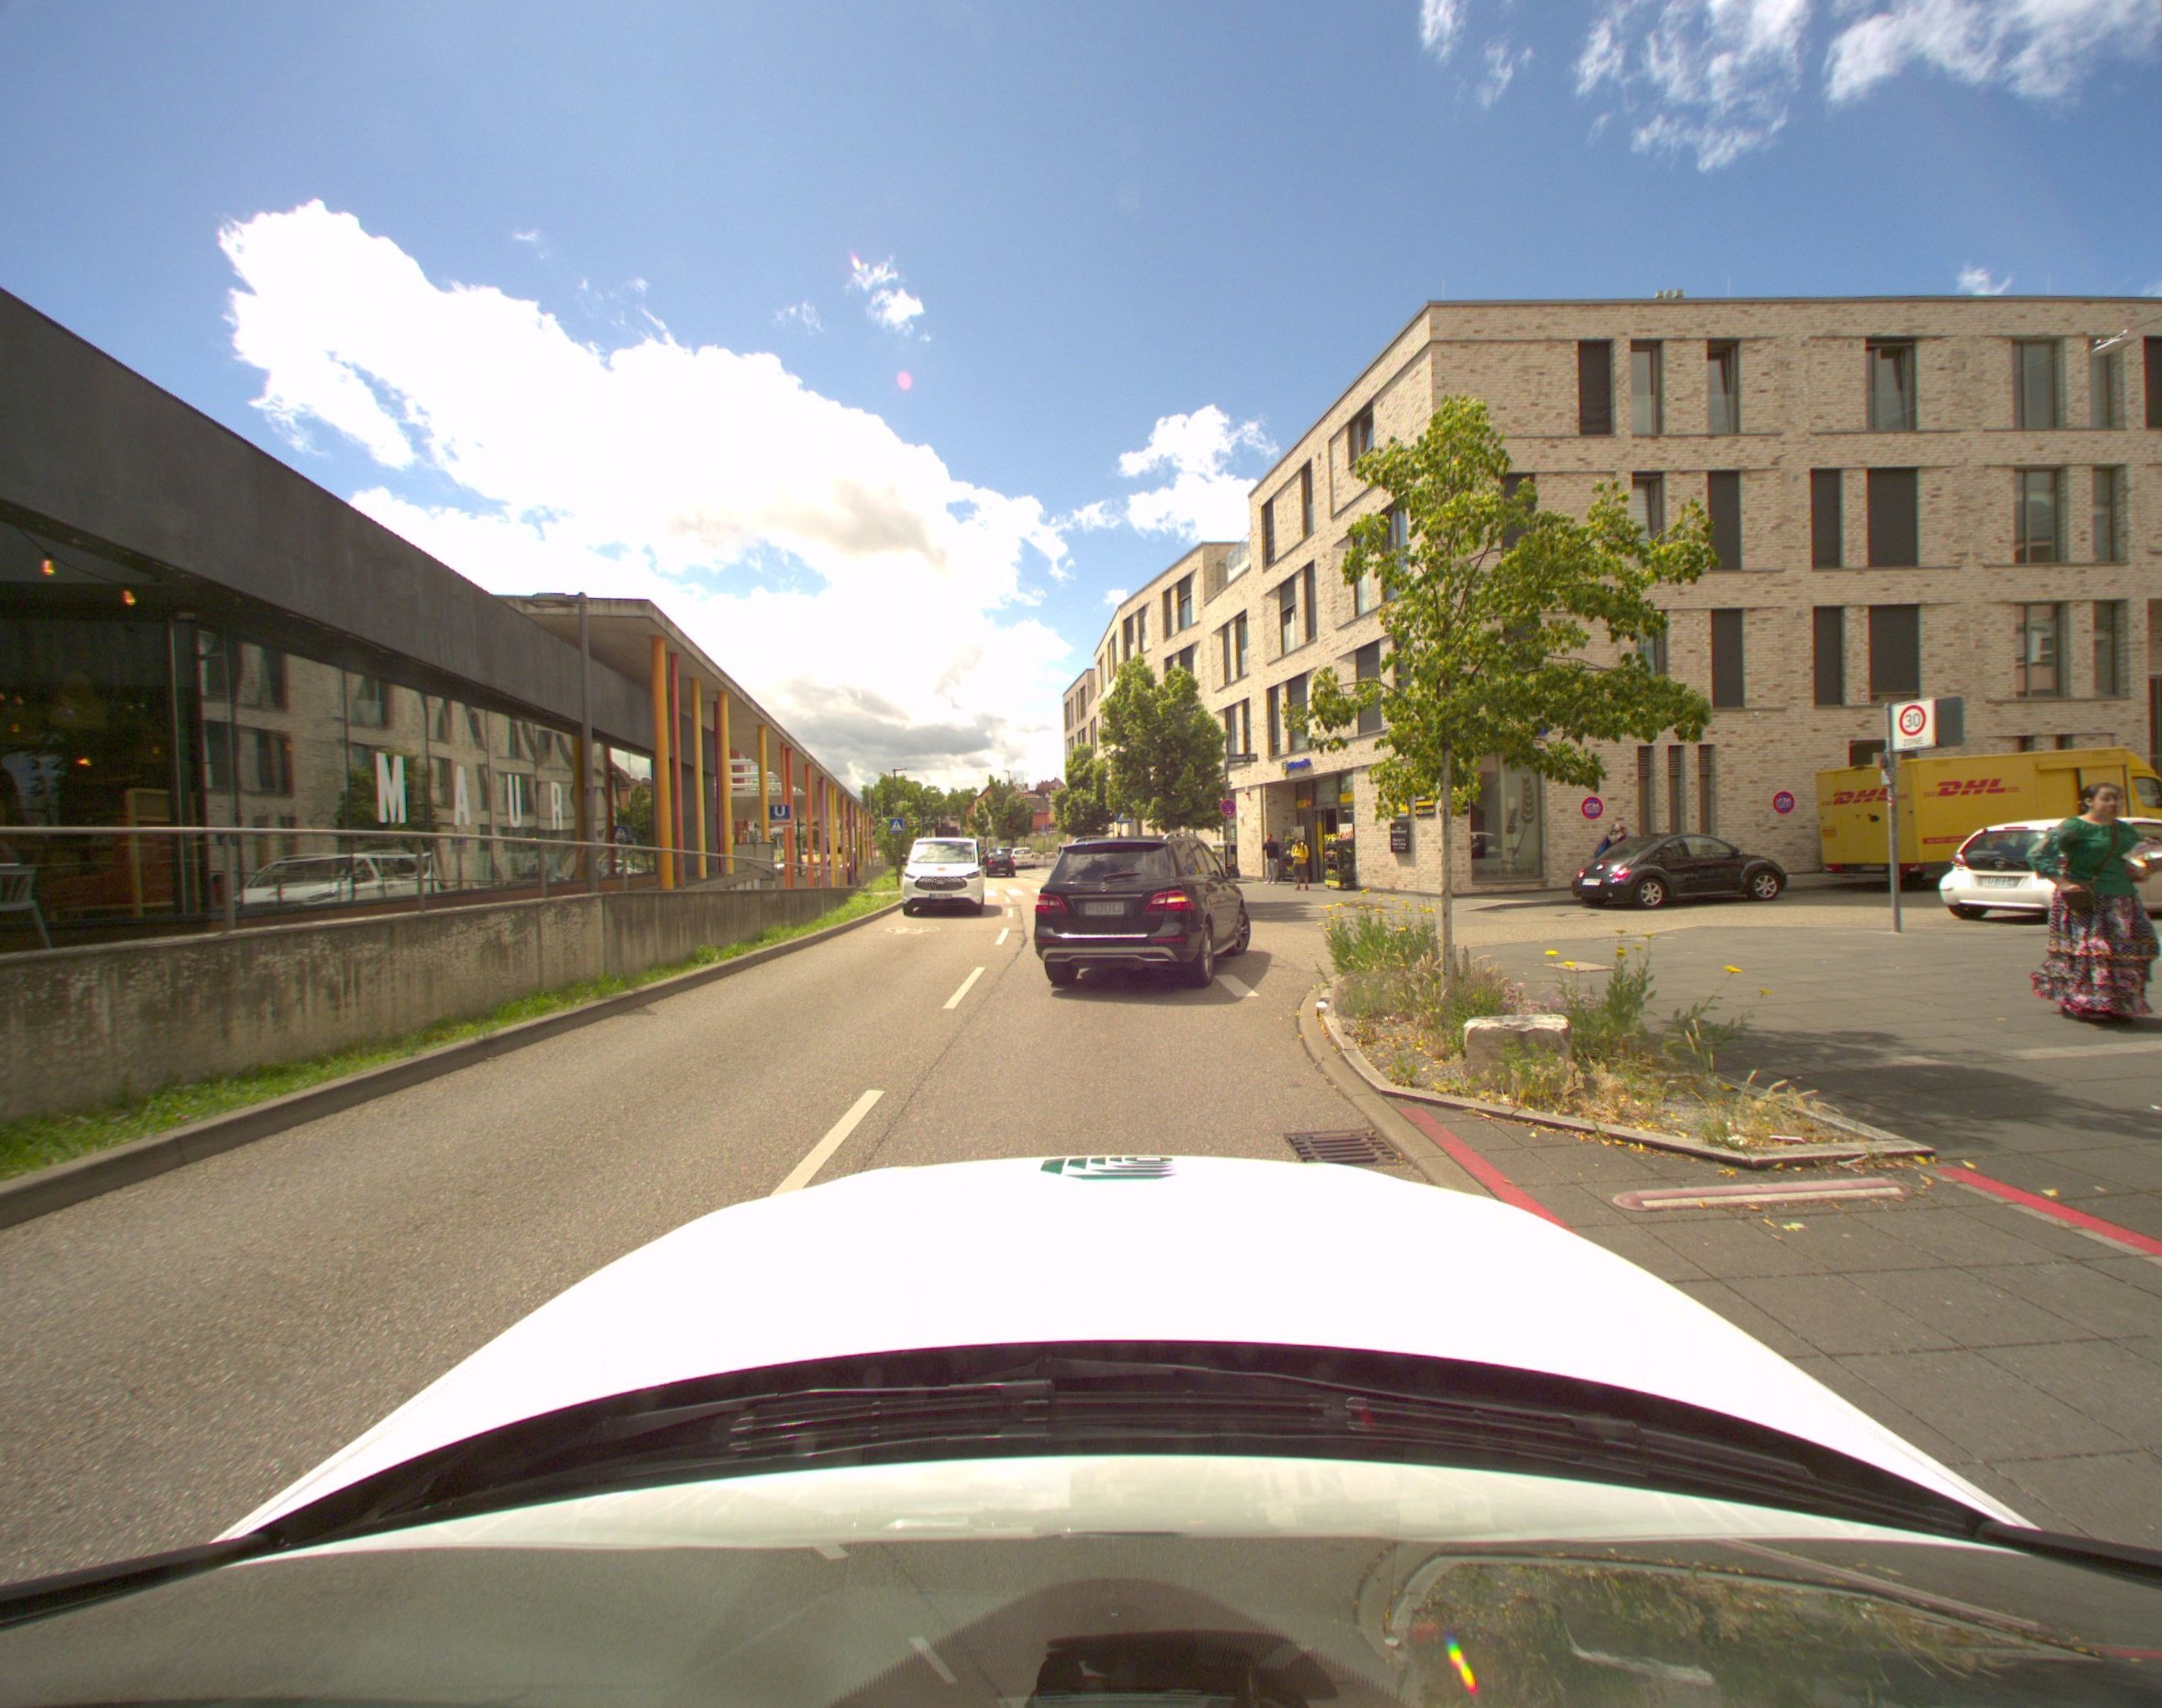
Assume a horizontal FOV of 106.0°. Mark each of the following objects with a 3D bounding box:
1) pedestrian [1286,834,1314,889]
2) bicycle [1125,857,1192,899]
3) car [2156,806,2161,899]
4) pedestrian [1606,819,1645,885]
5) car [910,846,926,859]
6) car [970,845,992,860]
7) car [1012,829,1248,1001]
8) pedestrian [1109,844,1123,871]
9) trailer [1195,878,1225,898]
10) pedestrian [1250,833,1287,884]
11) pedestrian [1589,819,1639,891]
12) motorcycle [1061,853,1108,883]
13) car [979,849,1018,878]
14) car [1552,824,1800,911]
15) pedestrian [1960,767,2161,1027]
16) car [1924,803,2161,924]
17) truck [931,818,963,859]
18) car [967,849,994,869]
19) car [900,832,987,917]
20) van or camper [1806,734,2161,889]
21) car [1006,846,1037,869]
[{"bbox_3d":[6.816,0.233,25.389,0.651,1.692,0.635,-2,0,28],"label":"pedestrian"},{"bbox_3d":[2.296,0.689,24.233,1.820,1.131,0.755,-3,0,-6],"label":"bicycle"},{"bbox_3d":[19.062,-0.132,12.023,3.997,1.477,1.832,-3,0,-1],"label":"car"},{"bbox_3d":[13.254,-0.034,19.819,0.524,1.573,0.597,0,-2,-32],"label":"pedestrian"},{"bbox_3d":[-19.345,-0.220,96.519,1.812,1.469,3.892,-1,1,-11],"label":"car"},{"bbox_3d":[-10.826,-0.162,88.309,1.785,1.451,4.455,-4,2,-14],"label":"car"},{"bbox_3d":[0.923,0.606,10.723,1.978,1.746,4.553,-3,1,17],"label":"car"},{"bbox_3d":[1.921,0.192,45.028,0.606,1.472,0.790,-3,1,-4],"label":"pedestrian"},{"bbox_3d":[3.682,0.967,23.295,0.718,0.528,0.811,-2,0,-2],"label":"trailer"},{"bbox_3d":[6.640,0.157,28.889,1.016,1.741,0.656,-2,0,-16],"label":"pedestrian"},{"bbox_3d":[12.727,0.024,19.456,0.557,1.671,0.807,0,-2,-32],"label":"pedestrian"},{"bbox_3d":[0.154,0.663,37.929,2.040,1.266,0.674,-4,0,5],"label":"motorcycle"},{"bbox_3d":[-4.857,0.514,47.676,1.729,1.456,3.791,-3,2,-13],"label":"car"},{"bbox_3d":[12.274,0.249,16.954,3.885,1.477,1.781,-3,0,-3],"label":"car"},{"bbox_3d":[6.849,0.262,5.603,0.737,1.639,0.933,-4,1,26],"label":"pedestrian"},{"bbox_3d":[14.601,0.079,11.618,3.371,1.477,1.718,-3,0,-1],"label":"car"},{"bbox_3d":[-15.844,-1.766,95.748,3.206,4.536,8.989,-1,-1,-13],"label":"truck"},{"bbox_3d":[-7.782,0.343,62.925,1.713,1.393,3.794,-3,2,-12],"label":"car"},{"bbox_3d":[-3.570,0.472,21.987,1.991,2.013,5.382,0,0,-6],"label":"car"},{"bbox_3d":[19.942,-0.897,17.425,6.838,2.736,2.275,-4,-1,-3],"label":"van or camper"},{"bbox_3d":[-4.299,0.228,58.299,1.693,1.483,3.784,-3,1,-10],"label":"car"}]
